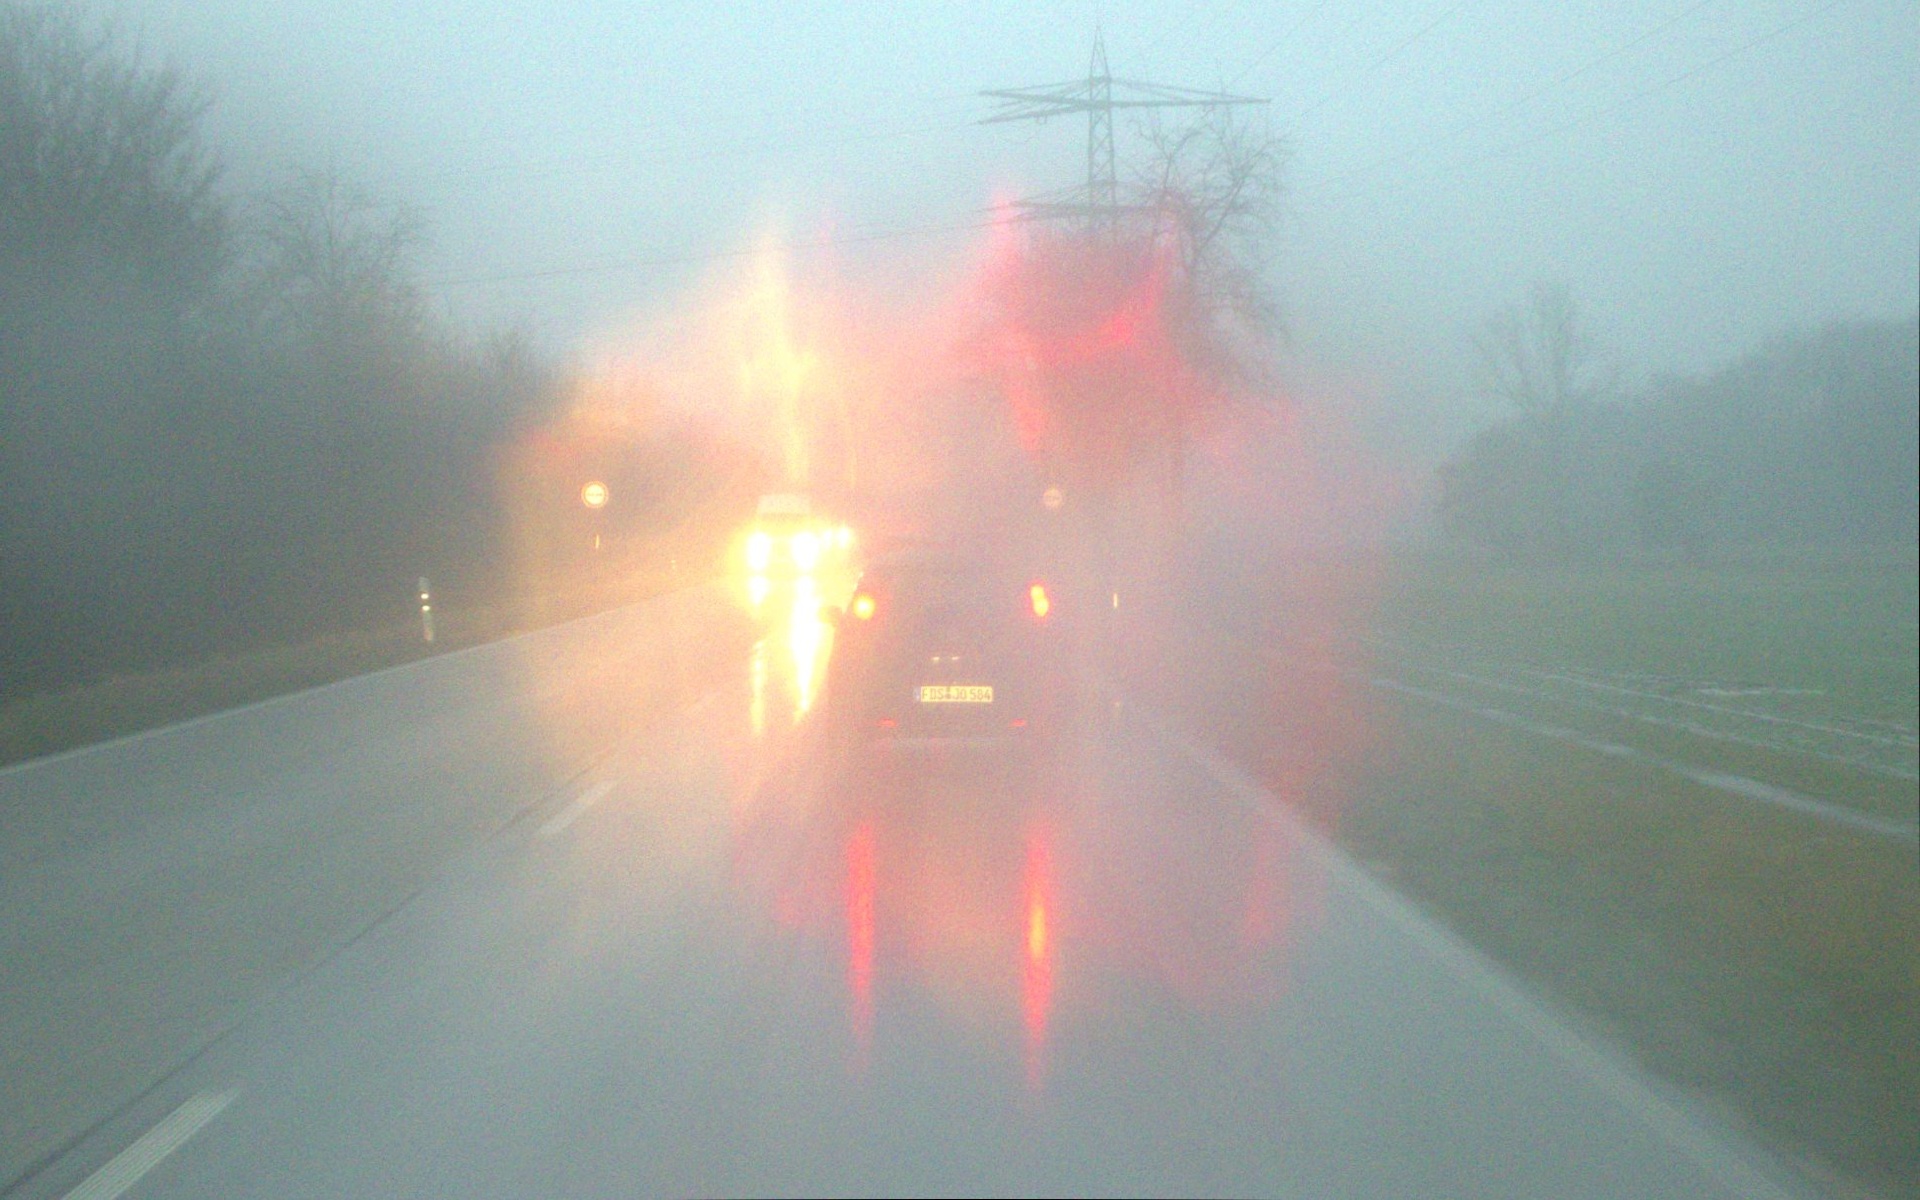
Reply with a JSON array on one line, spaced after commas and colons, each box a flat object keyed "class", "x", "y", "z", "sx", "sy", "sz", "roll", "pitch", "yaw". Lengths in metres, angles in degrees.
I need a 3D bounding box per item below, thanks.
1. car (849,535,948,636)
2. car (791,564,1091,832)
[{"class": "car", "x": -1.301, "y": -0.330, "z": 71.240, "sx": 1.993, "sy": 2.007, "sz": 4.000, "roll": -1, "pitch": 1, "yaw": -2}, {"class": "car", "x": -0.158, "y": 0.628, "z": 24.842, "sx": 1.993, "sy": 1.746, "sz": 4.000, "roll": 0, "pitch": 1, "yaw": -1}]
